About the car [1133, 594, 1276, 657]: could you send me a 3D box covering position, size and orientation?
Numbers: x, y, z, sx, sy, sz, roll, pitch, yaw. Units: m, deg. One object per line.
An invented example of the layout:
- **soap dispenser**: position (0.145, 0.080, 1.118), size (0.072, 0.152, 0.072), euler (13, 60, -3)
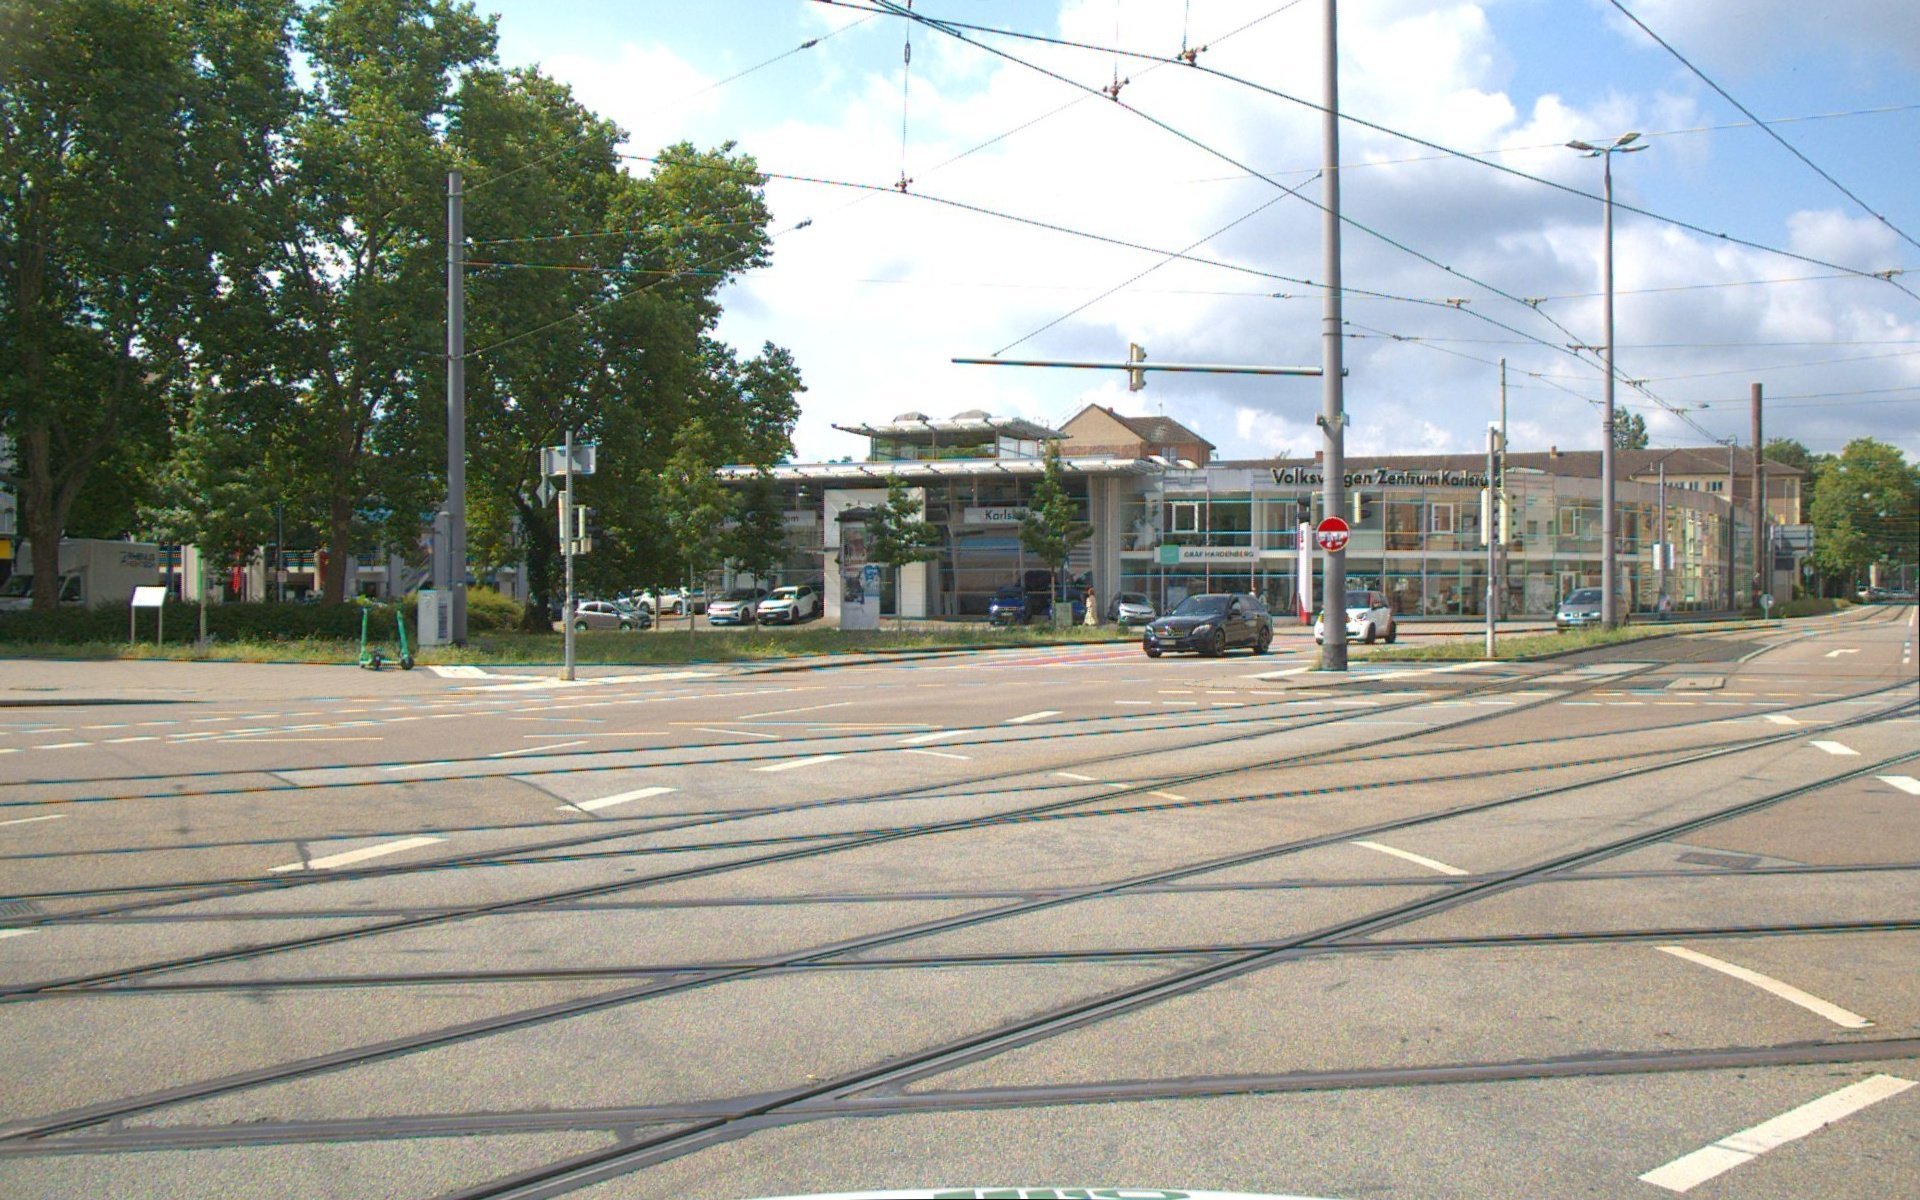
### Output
- **car**: position (5.811, 0.564, 39.008), size (1.832, 1.400, 3.928), euler (0, 0, 34)

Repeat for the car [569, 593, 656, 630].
- **car**: position (-16.244, 0.520, 77.410), size (3.593, 1.513, 1.674), euler (3, 1, 16)

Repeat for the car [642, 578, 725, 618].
- **car**: position (-14.949, -0.108, 89.549), size (3.905, 2.049, 2.000), euler (2, 0, 21)

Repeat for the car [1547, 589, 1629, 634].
- **car**: position (23.174, 0.407, 60.980), size (1.960, 1.601, 3.723), euler (0, 0, 36)

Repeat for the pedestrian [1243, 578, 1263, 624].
- **pedestrian**: position (13.062, 0.033, 73.688), size (0.850, 2.049, 0.704), euler (0, 0, 7)

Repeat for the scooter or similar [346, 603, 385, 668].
- **scooter or similar**: position (-11.422, 0.675, 31.791), size (0.377, 1.217, 1.050), euler (2, 0, -37)

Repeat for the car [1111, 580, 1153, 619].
- **car**: position (8.047, -0.027, 77.302), size (1.887, 1.713, 4.003), euler (2, 0, 6)

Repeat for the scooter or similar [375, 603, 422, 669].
- **scooter or similar**: position (-10.824, 0.693, 31.876), size (1.046, 1.217, 0.379), euler (2, 0, 42)

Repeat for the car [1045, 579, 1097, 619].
- **car**: position (5.142, -0.039, 76.225), size (1.951, 1.755, 4.003), euler (2, 0, 9)

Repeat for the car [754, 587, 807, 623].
- **car**: position (-8.826, 0.241, 81.556), size (1.747, 1.712, 4.003), euler (0, 0, 7)

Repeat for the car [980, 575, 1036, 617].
- **car**: position (2.281, -0.182, 77.541), size (1.951, 1.870, 4.003), euler (-1, 0, 11)

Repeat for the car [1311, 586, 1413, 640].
- **car**: position (11.800, 0.390, 48.407), size (1.657, 1.495, 3.642), euler (2, 0, 36)

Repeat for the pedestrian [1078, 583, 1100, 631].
- **pedestrian**: position (5.610, 0.297, 71.970), size (0.790, 2.049, 0.809), euler (2, 0, 14)

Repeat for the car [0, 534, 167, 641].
- **car**: position (-27.382, -0.368, 51.485), size (1.953, 3.096, 7.248), euler (0, 0, 0)

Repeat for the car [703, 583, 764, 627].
- **car**: position (-11.179, 0.233, 81.858), size (1.951, 2.048, 4.003), euler (3, 0, 7)
